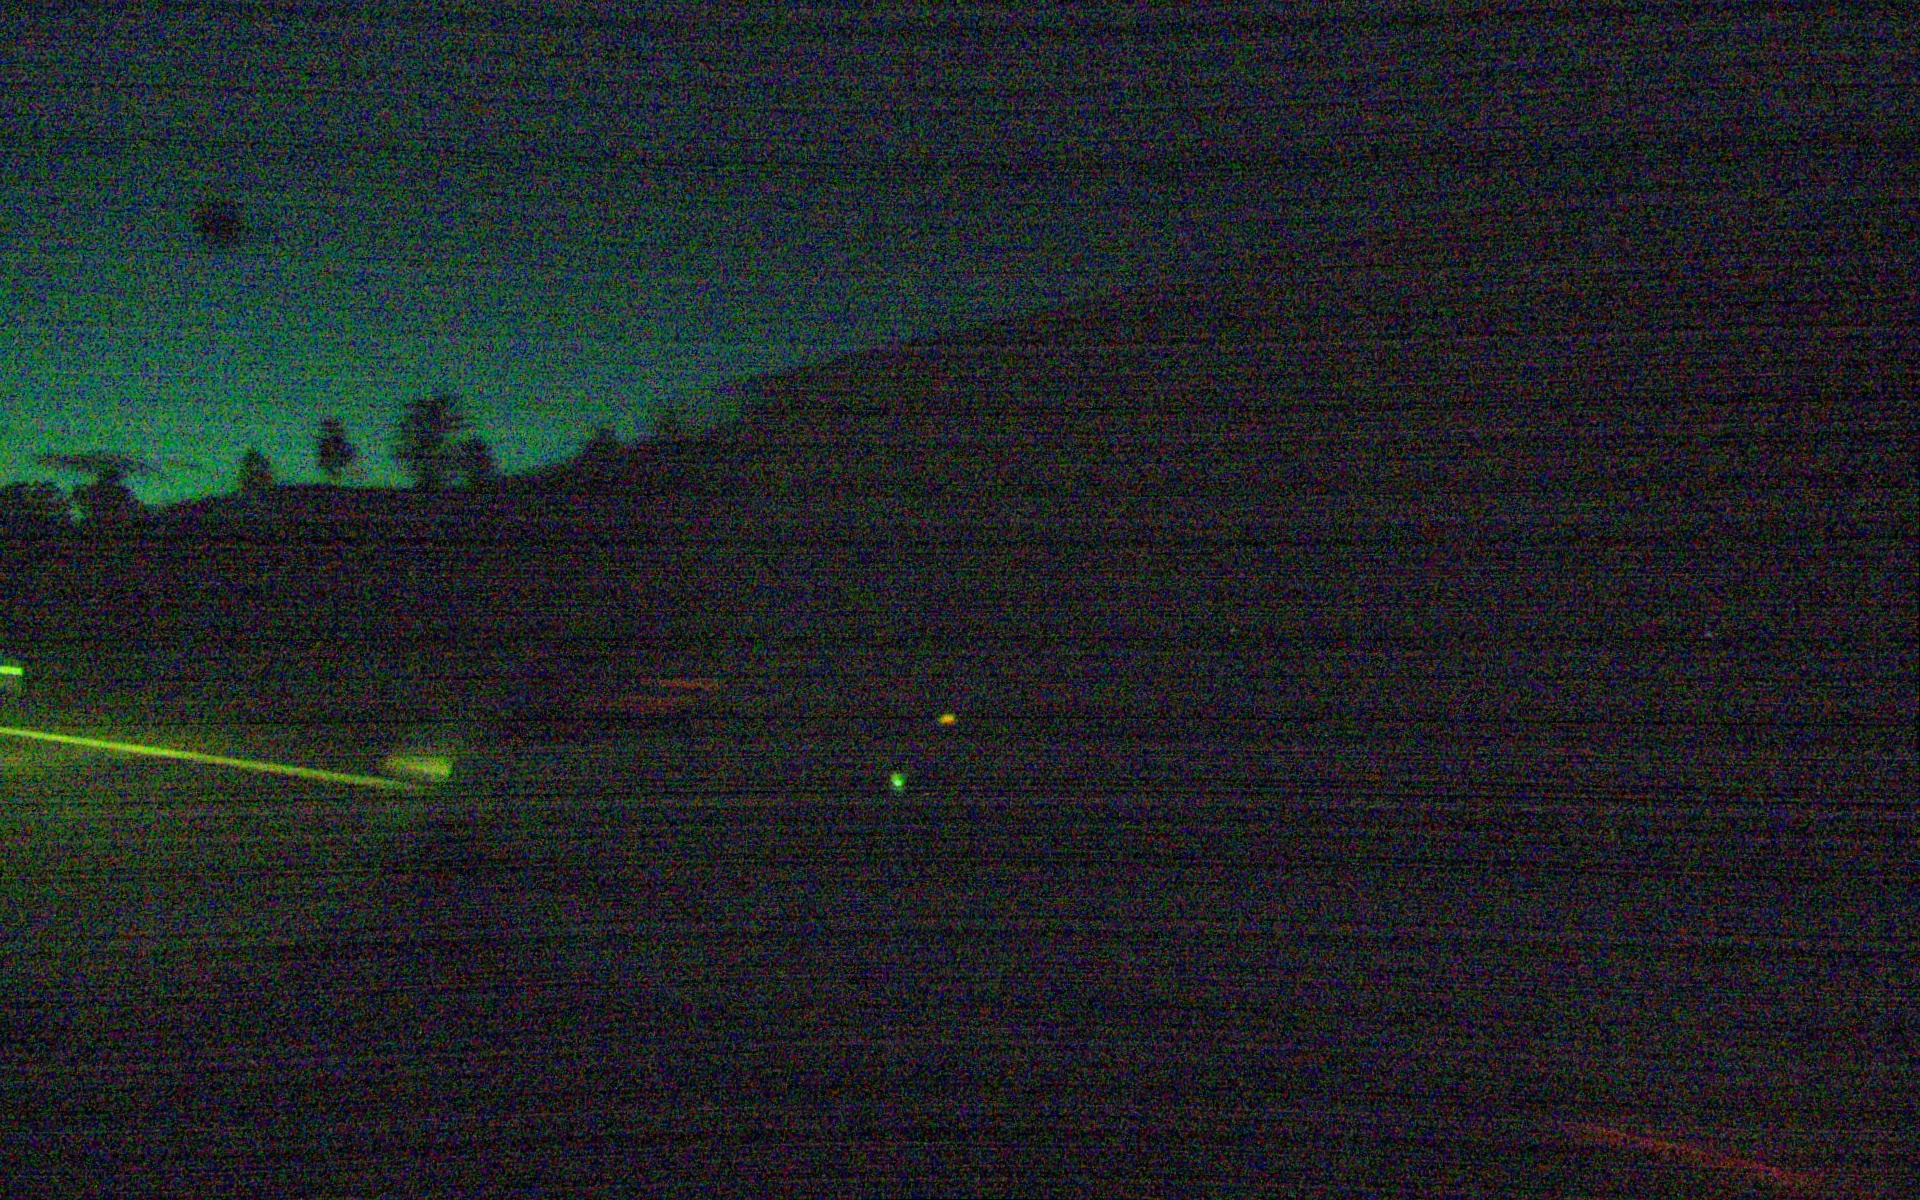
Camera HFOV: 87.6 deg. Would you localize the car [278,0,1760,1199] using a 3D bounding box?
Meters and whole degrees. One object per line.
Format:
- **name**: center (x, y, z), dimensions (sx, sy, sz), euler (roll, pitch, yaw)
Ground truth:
- **car**: center (-0.419, 0.215, 4.158), dimensions (5.646, 2.681, 2.028), euler (-1, -2, 34)
